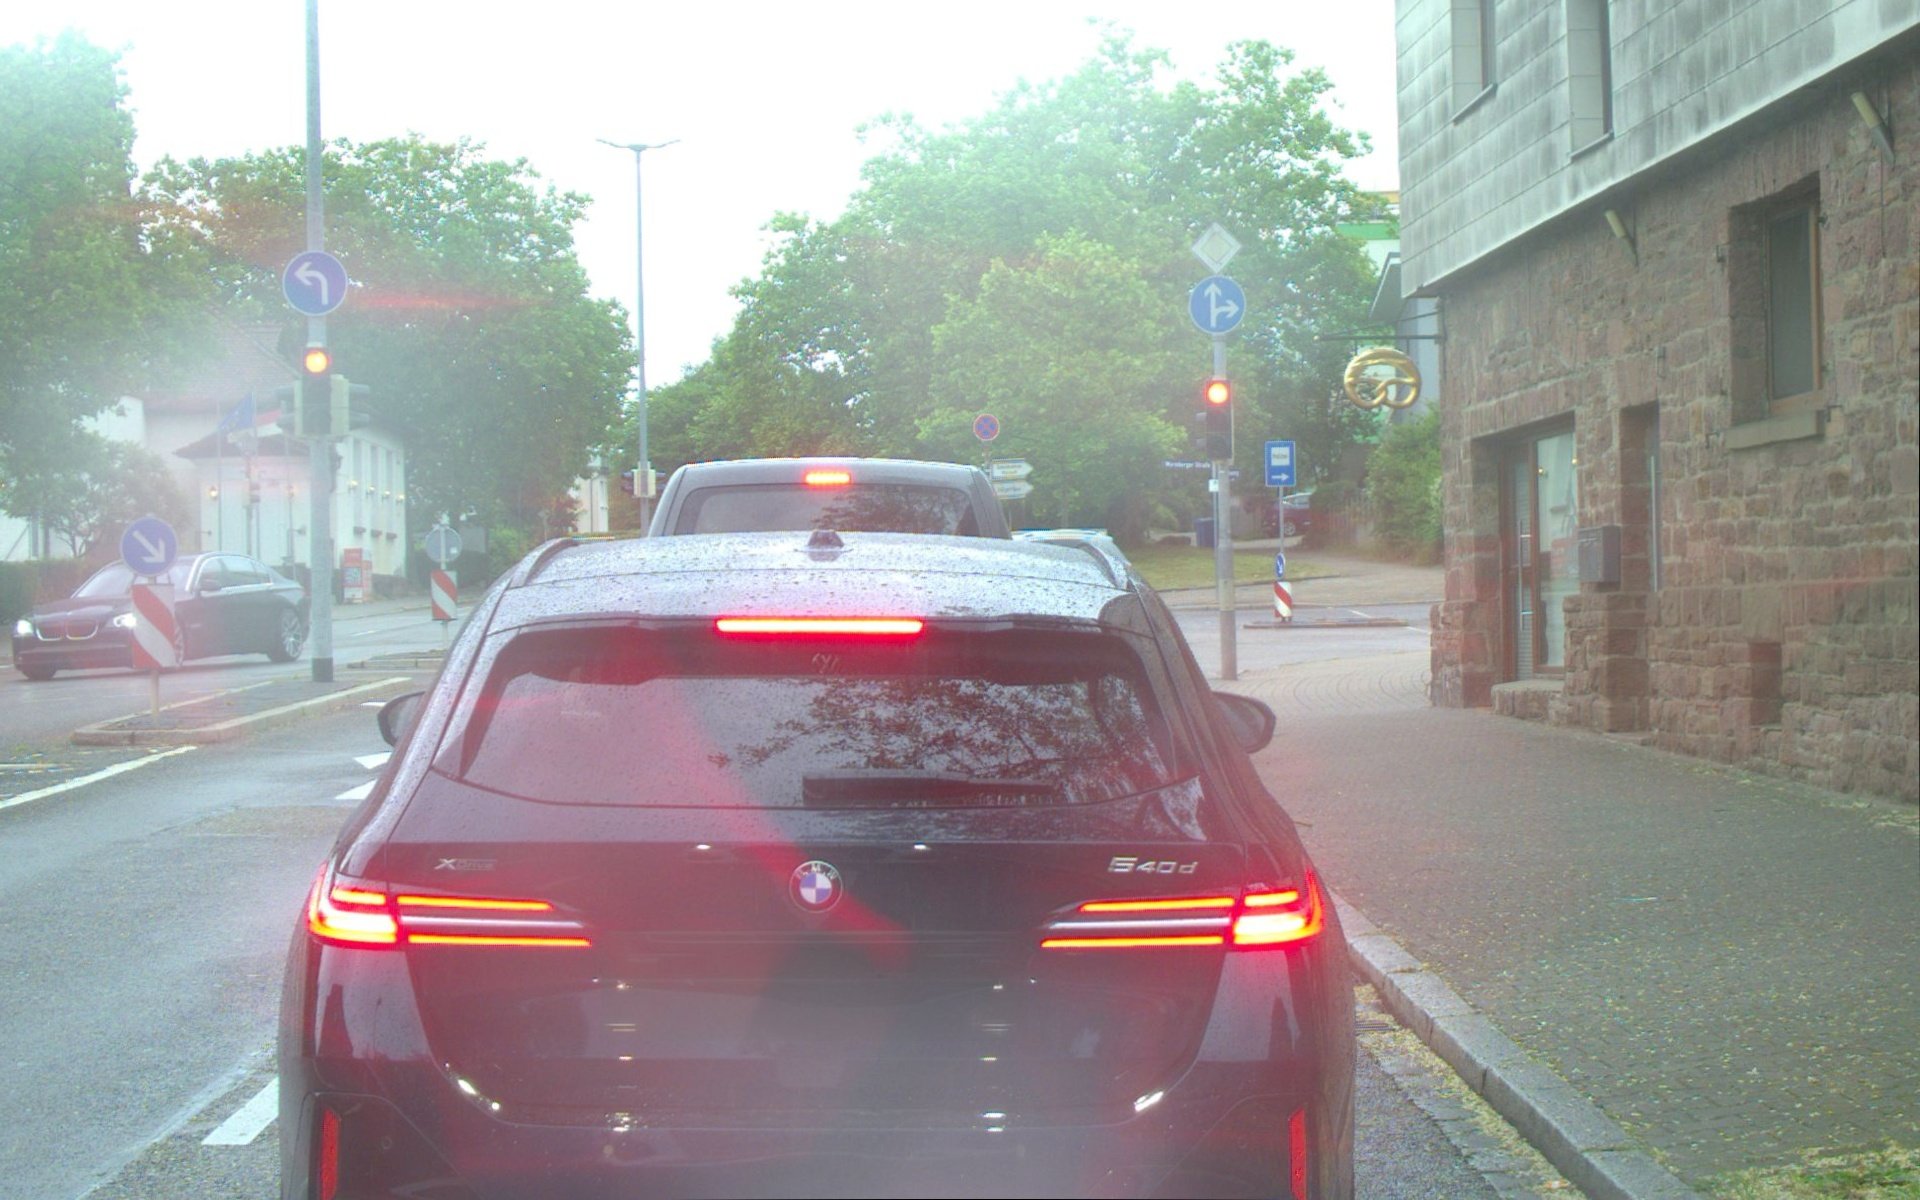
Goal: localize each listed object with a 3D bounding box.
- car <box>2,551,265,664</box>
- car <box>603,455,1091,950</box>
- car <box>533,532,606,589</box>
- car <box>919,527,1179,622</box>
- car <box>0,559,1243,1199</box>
[{"bbox_3d":[-10.072,0.057,42.173,1.843,1.284,3.999,0,1,7],"label":"car"},{"bbox_3d":[-0.507,0.330,14.643,1.783,1.811,4.001,0,1,-3],"label":"car"},{"bbox_3d":[-9.781,-1.000,86.223,1.464,1.393,3.322,0,1,-1],"label":"car"},{"bbox_3d":[1.507,-0.451,58.109,3.986,1.546,1.825,-1,1,-26],"label":"car"},{"bbox_3d":[-0.726,0.649,7.432,2.064,1.441,4.484,0,1,-3],"label":"car"}]
